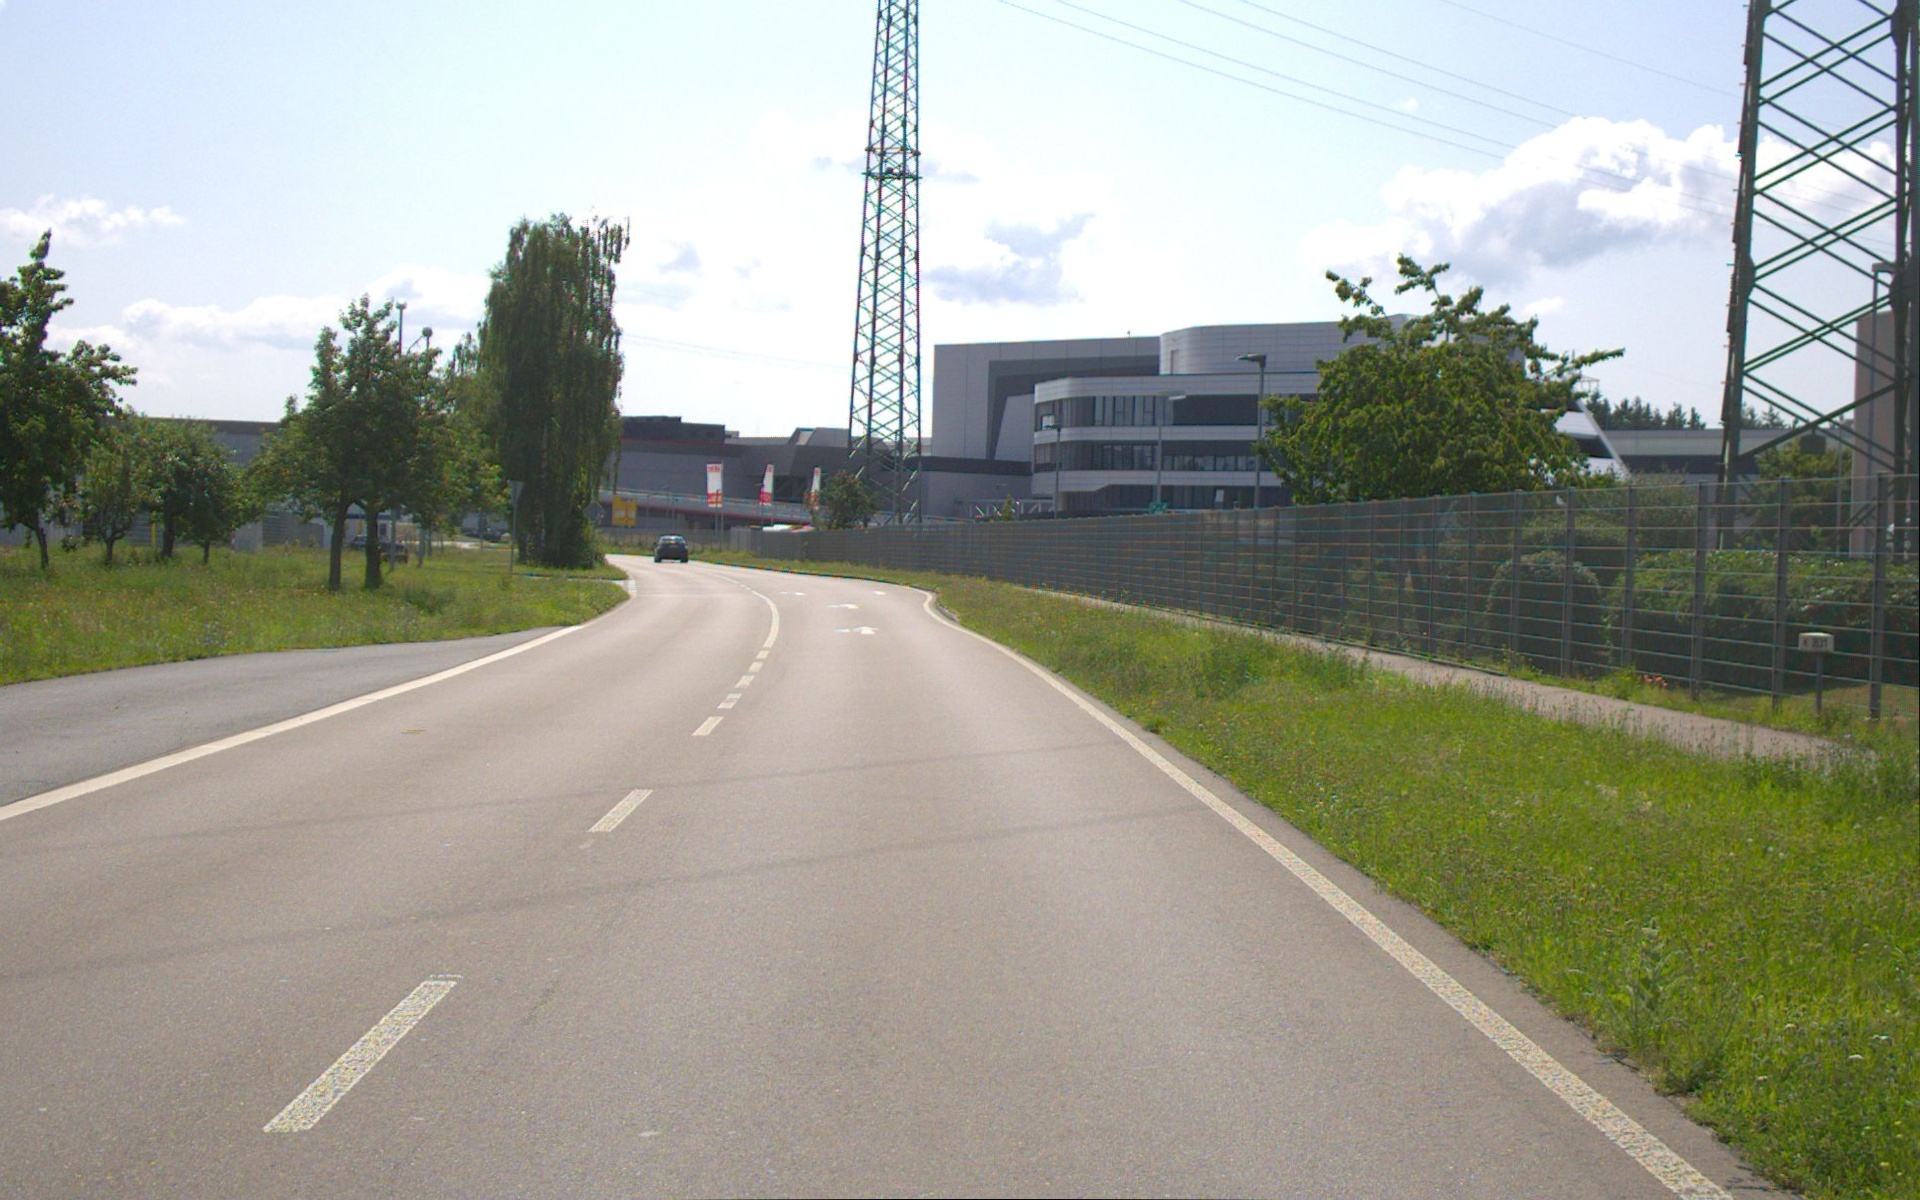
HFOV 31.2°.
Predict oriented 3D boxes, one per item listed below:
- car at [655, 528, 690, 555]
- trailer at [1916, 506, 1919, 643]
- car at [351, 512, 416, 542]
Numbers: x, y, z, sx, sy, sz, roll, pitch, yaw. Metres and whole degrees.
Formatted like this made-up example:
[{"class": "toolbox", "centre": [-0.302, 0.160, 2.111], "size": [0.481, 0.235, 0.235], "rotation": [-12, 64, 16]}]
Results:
[{"class": "car", "centre": [-16.731, -3.403, 200.008], "size": [2.012, 1.503, 4.001], "rotation": [0, 1, -4]}, {"class": "trailer", "centre": [28.834, -0.530, 88.177], "size": [3.589, 3.722, 12.242], "rotation": [1, 1, -8]}, {"class": "car", "centre": [-37.381, -4.728, 223.009], "size": [3.986, 1.568, 2.000], "rotation": [4, -1, -9]}]
